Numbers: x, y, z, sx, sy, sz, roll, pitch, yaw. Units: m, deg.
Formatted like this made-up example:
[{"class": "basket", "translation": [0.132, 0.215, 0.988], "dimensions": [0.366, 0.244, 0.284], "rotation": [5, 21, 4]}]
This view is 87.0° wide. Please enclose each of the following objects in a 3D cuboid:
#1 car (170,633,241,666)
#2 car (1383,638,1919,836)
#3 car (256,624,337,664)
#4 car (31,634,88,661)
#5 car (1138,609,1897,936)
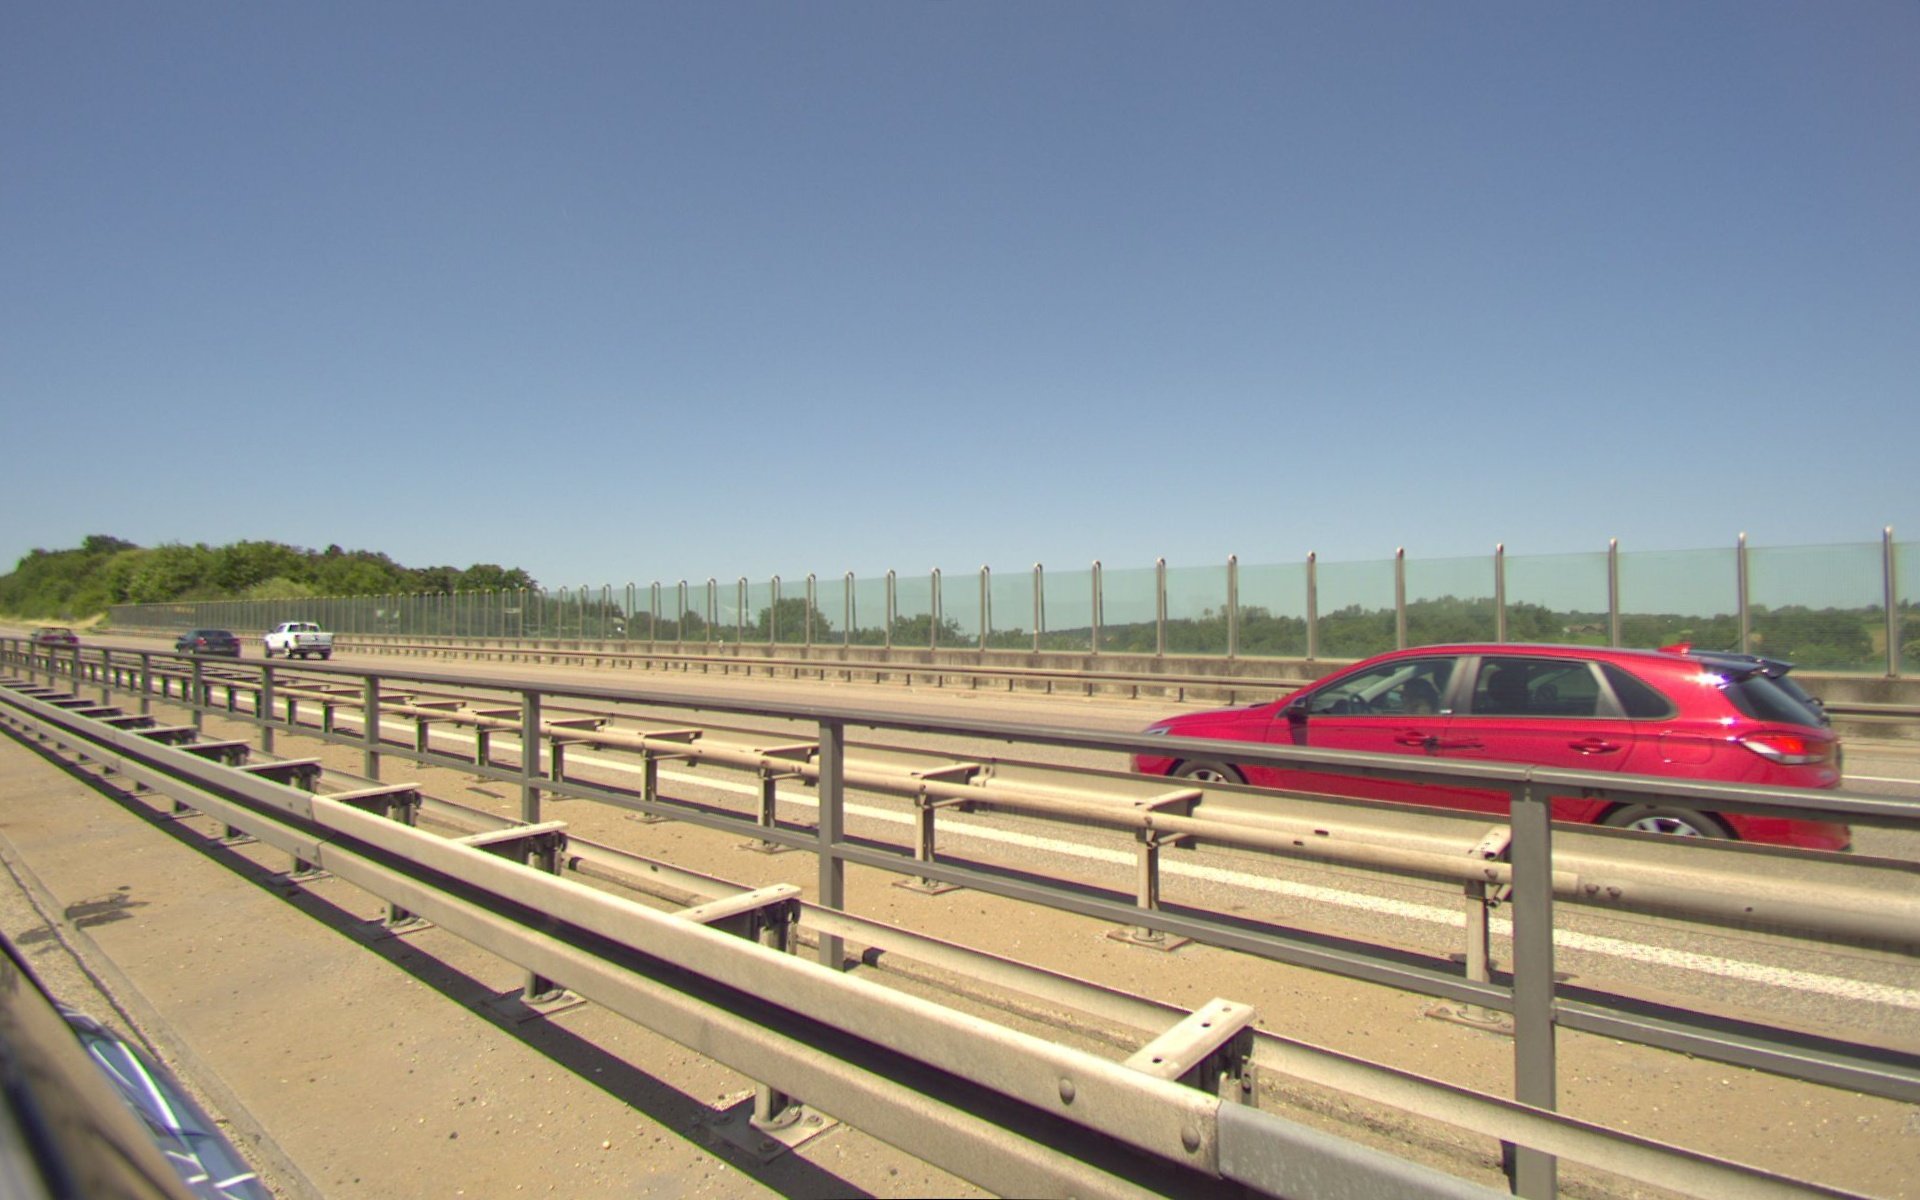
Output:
[{"class": "car", "translation": [-32.568, 2.105, 43.649], "dimensions": [4.177, 1.360, 1.581], "rotation": [-2, -4, 41]}, {"class": "car", "translation": [6.572, 1.136, 9.595], "dimensions": [4.417, 1.503, 1.712], "rotation": [-2, -4, 41]}, {"class": "car", "translation": [-33.323, 2.215, 50.770], "dimensions": [5.252, 1.899, 1.973], "rotation": [-2, -4, 41]}, {"class": "car", "translation": [-45.896, 2.415, 51.539], "dimensions": [4.339, 1.328, 1.581], "rotation": [-2, -4, 41]}, {"class": "car", "translation": [3.367, 0.930, 6.651], "dimensions": [3.987, 1.489, 1.772], "rotation": [-2, -7, 41]}]
